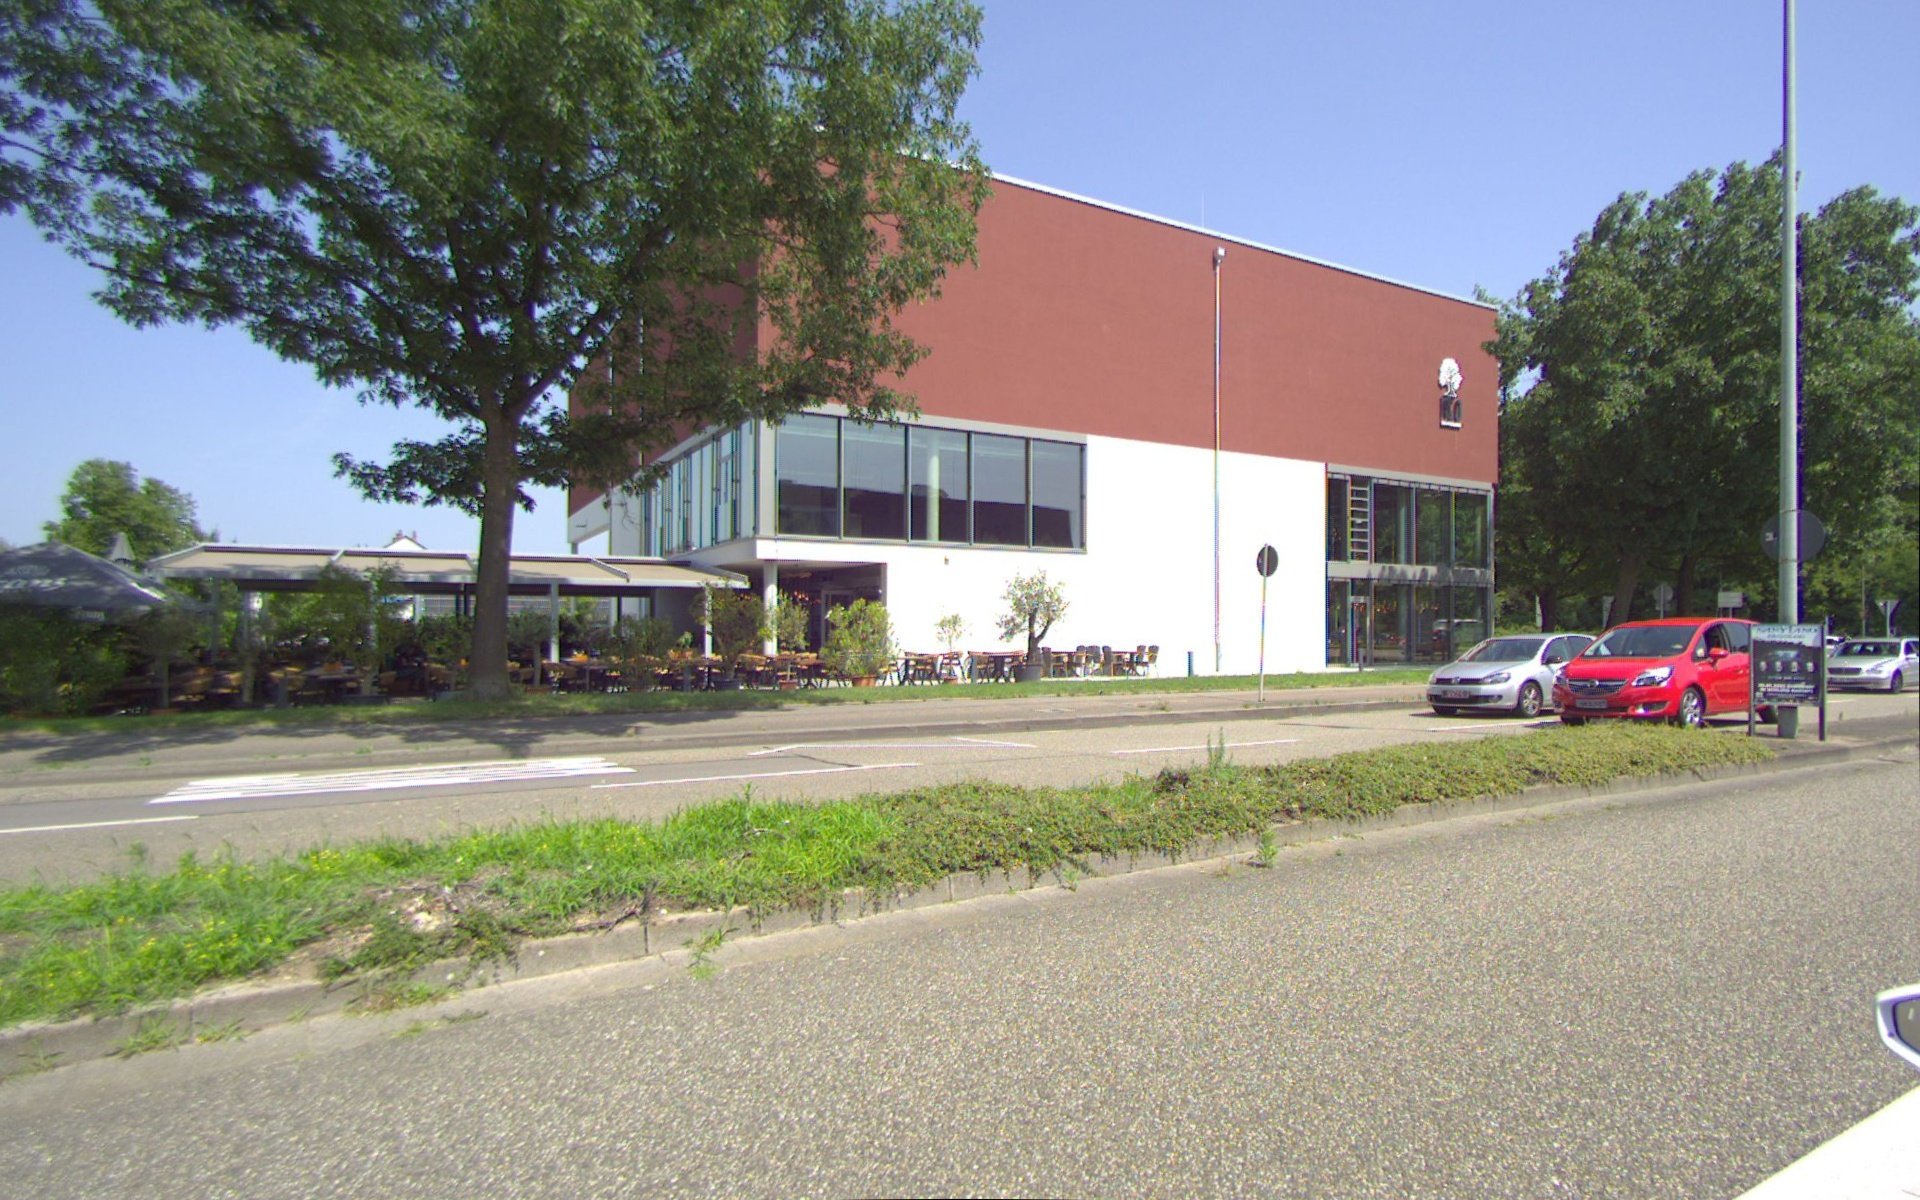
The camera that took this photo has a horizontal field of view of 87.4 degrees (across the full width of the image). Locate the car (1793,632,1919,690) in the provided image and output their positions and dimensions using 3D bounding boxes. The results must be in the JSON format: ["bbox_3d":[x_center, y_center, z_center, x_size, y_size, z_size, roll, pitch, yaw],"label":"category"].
[{"bbox_3d":[24.161,1.607,26.651,4.309,1.422,1.769,1,-4,-31],"label":"car"}]

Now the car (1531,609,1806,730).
[{"bbox_3d":[10.600,0.992,14.984,4.103,1.590,1.742,1,-4,-30],"label":"car"}]

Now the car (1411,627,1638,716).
[{"bbox_3d":[10.332,1.258,18.340,4.084,1.470,1.742,1,-4,-30],"label":"car"}]

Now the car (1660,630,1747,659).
[{"bbox_3d":[49.533,2.966,66.954,1.795,1.704,4.334,2,0,-39],"label":"car"}]

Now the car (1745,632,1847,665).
[{"bbox_3d":[49.619,2.845,59.675,1.793,1.704,4.340,2,0,-36],"label":"car"}]
